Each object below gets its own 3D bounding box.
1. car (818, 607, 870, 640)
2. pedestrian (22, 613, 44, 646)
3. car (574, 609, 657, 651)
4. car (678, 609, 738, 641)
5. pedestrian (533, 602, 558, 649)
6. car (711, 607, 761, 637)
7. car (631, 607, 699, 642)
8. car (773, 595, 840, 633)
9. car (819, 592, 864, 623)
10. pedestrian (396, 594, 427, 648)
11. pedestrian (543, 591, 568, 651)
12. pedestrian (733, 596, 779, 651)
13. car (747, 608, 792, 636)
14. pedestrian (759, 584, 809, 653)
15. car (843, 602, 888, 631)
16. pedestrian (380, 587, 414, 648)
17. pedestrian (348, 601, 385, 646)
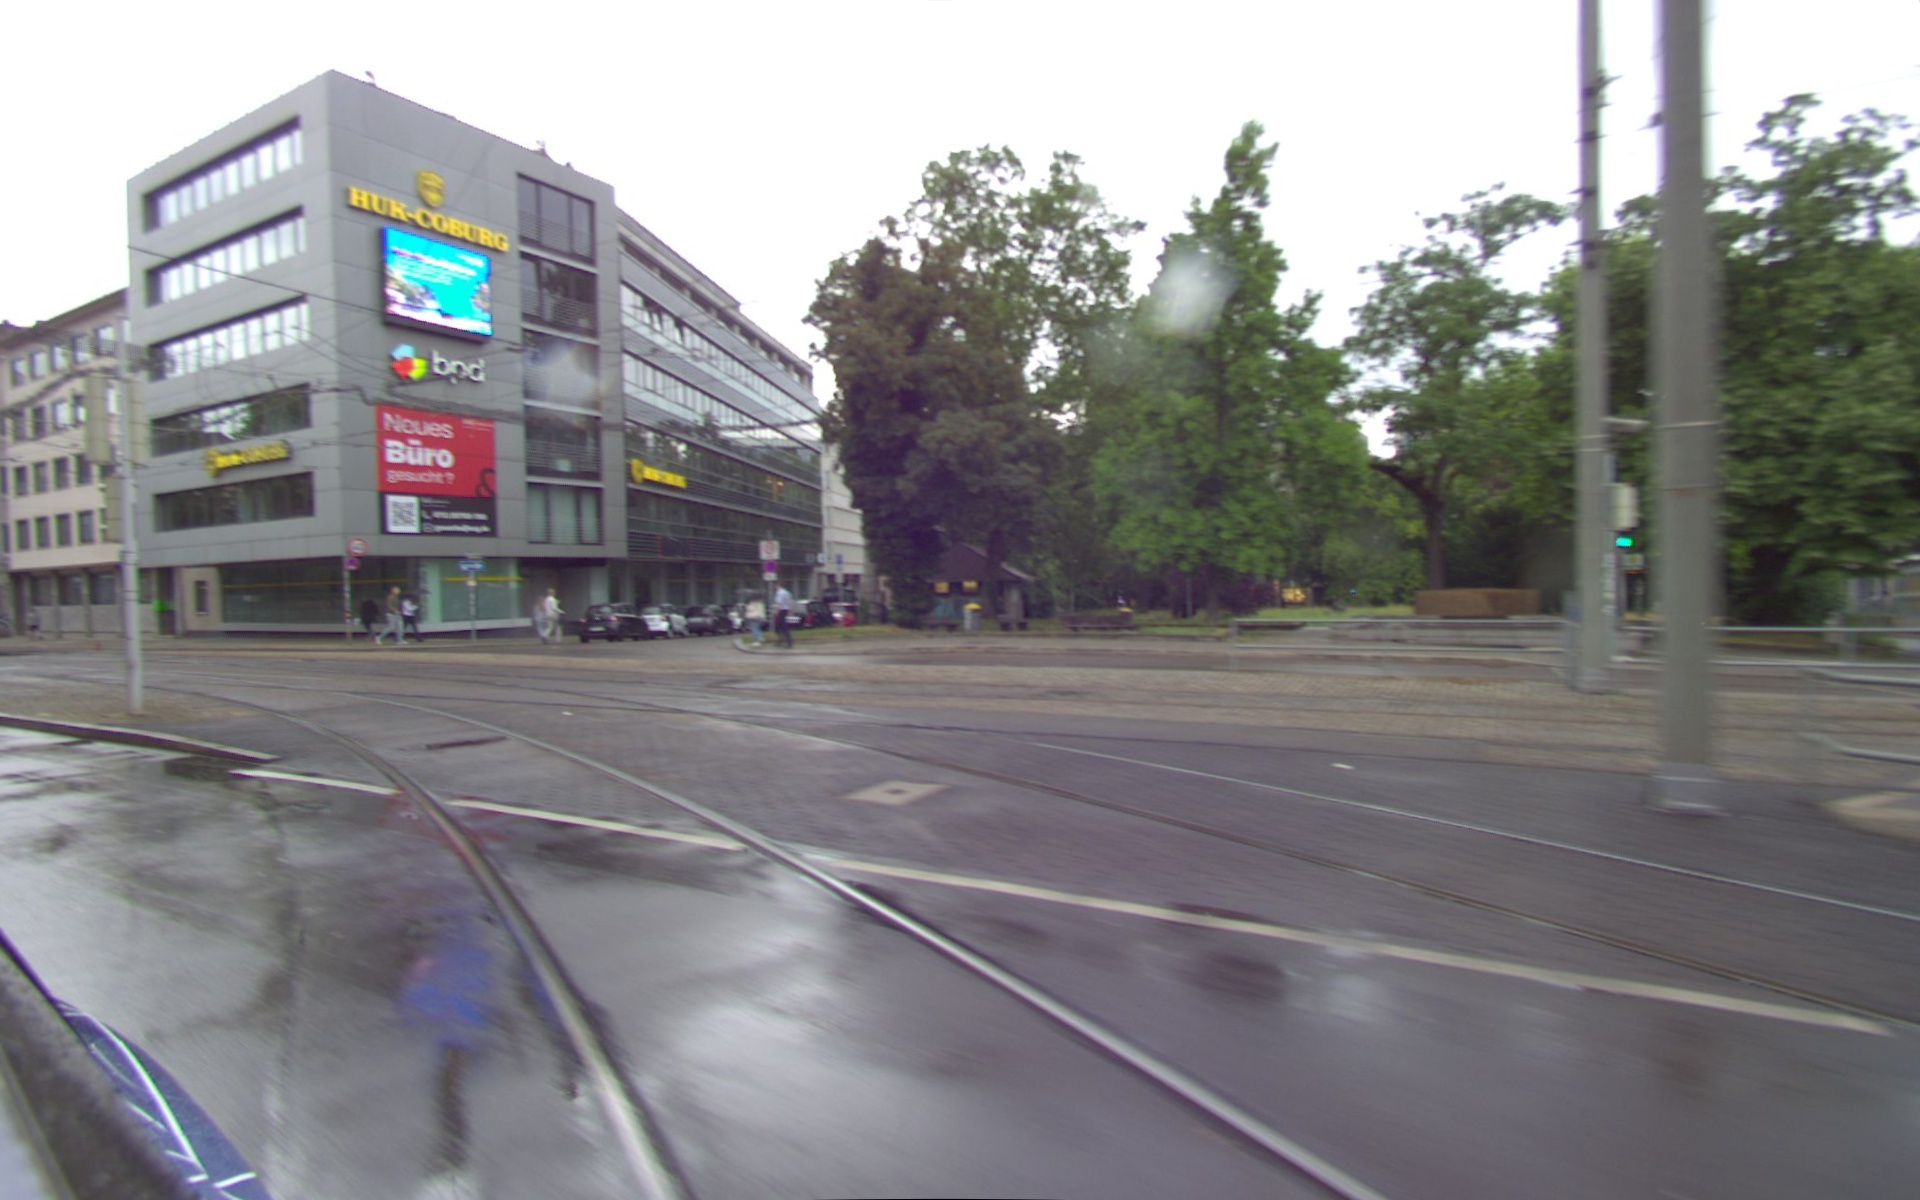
[{"bbox_3d":[-5.244,1.040,46.001,1.681,1.459,3.534,0,-1,5],"label":"car"},{"bbox_3d":[-47.390,1.500,51.733,0.796,1.624,0.542,-1,3,34],"label":"pedestrian"},{"bbox_3d":[-13.505,1.160,39.837,1.682,1.562,3.734,0,-1,6],"label":"car"},{"bbox_3d":[-11.912,1.164,48.016,1.681,1.465,3.737,0,-1,4],"label":"car"},{"bbox_3d":[-14.675,0.892,35.813,0.580,1.606,0.637,-3,3,-42],"label":"pedestrian"},{"bbox_3d":[-11.763,1.144,53.327,1.681,1.567,3.536,0,-1,4],"label":"car"},{"bbox_3d":[-12.758,1.047,43.928,1.681,1.465,3.737,0,-1,4],"label":"car"},{"bbox_3d":[-6.060,0.555,40.377,1.683,1.459,3.530,0,-1,9],"label":"car"},{"bbox_3d":[-8.831,0.550,76.025,2.305,2.237,5.059,0,-1,7],"label":"car"},{"bbox_3d":[-19.228,0.708,35.472,0.653,1.829,0.974,-4,3,-44],"label":"pedestrian"},{"bbox_3d":[-14.125,0.724,35.342,0.607,2.028,0.664,-2,2,-7],"label":"pedestrian"},{"bbox_3d":[-6.182,0.697,30.634,0.900,1.606,1.004,-4,3,-45],"label":"pedestrian"},{"bbox_3d":[-10.808,1.232,57.530,1.681,1.567,3.536,0,-1,4],"label":"car"},{"bbox_3d":[-4.969,0.520,28.616,0.999,1.876,0.904,-1,2,30],"label":"pedestrian"},{"bbox_3d":[-4.798,0.836,51.866,1.681,1.459,3.534,0,-1,5],"label":"car"},{"bbox_3d":[-19.211,0.576,34.536,0.808,2.028,0.656,0,2,32],"label":"pedestrian"},{"bbox_3d":[-21.716,0.846,37.054,0.587,1.606,0.956,0,2,33],"label":"pedestrian"}]
